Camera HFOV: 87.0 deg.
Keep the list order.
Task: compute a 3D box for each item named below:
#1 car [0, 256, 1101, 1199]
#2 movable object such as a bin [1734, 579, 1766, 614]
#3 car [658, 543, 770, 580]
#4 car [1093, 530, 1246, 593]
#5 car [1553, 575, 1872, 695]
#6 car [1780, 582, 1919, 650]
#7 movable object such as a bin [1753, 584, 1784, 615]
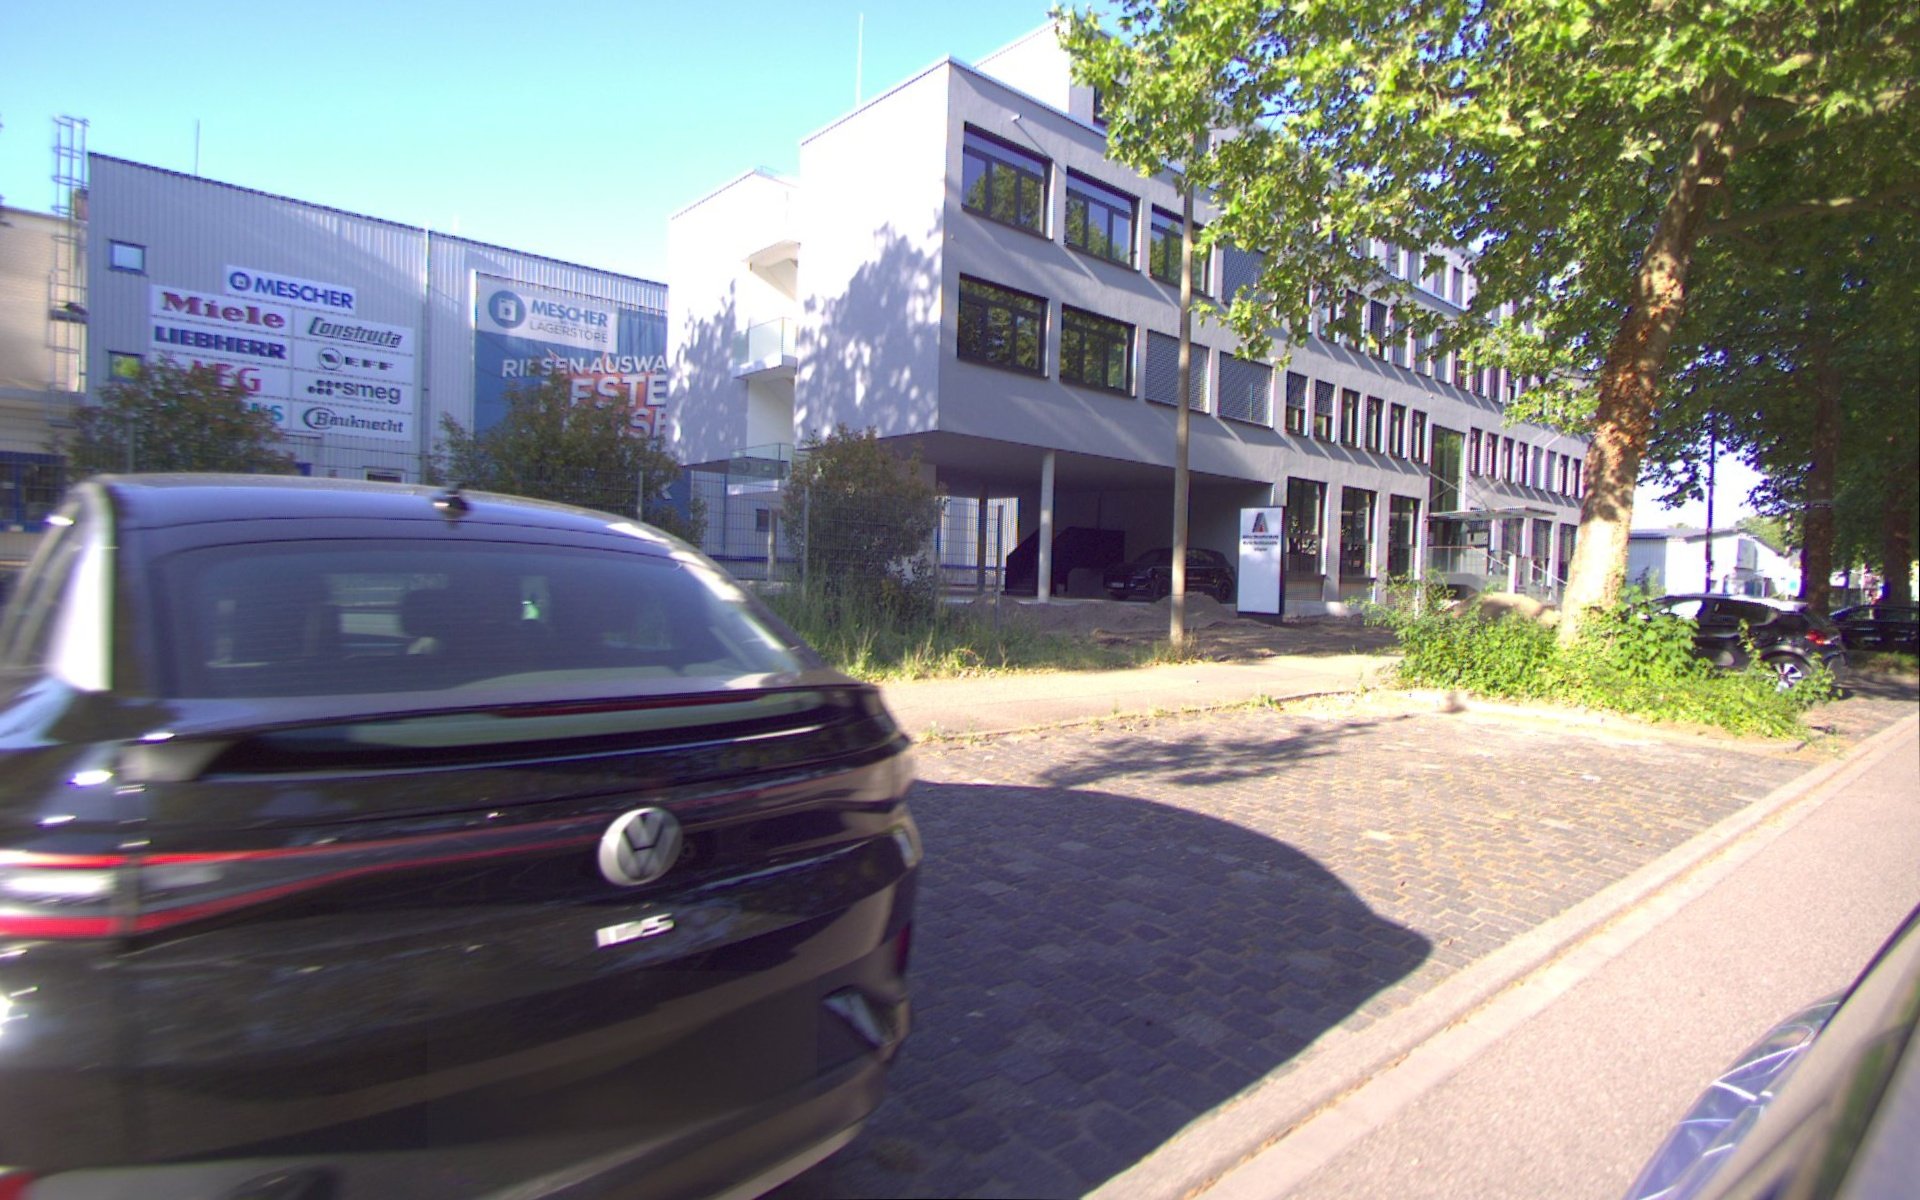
[{"bbox_3d":[-1.993,0.323,3.237,1.911,1.736,4.576,0,5,-44],"label":"car"},{"bbox_3d":[32.003,-0.152,40.993,1.592,1.367,0.749,0,1,-41],"label":"movable object such as a bin"},{"bbox_3d":[-9.726,-1.500,40.134,3.930,1.349,1.873,0,1,-41],"label":"car"},{"bbox_3d":[6.396,-1.120,30.689,4.580,1.753,2.000,0,1,-36],"label":"car"},{"bbox_3d":[11.991,0.454,16.307,1.829,1.504,3.792,0,4,-42],"label":"car"},{"bbox_3d":[25.455,0.475,27.740,1.829,1.503,4.294,0,6,-42],"label":"car"},{"bbox_3d":[33.991,-0.039,42.532,1.583,1.279,0.749,0,1,-41],"label":"movable object such as a bin"}]
